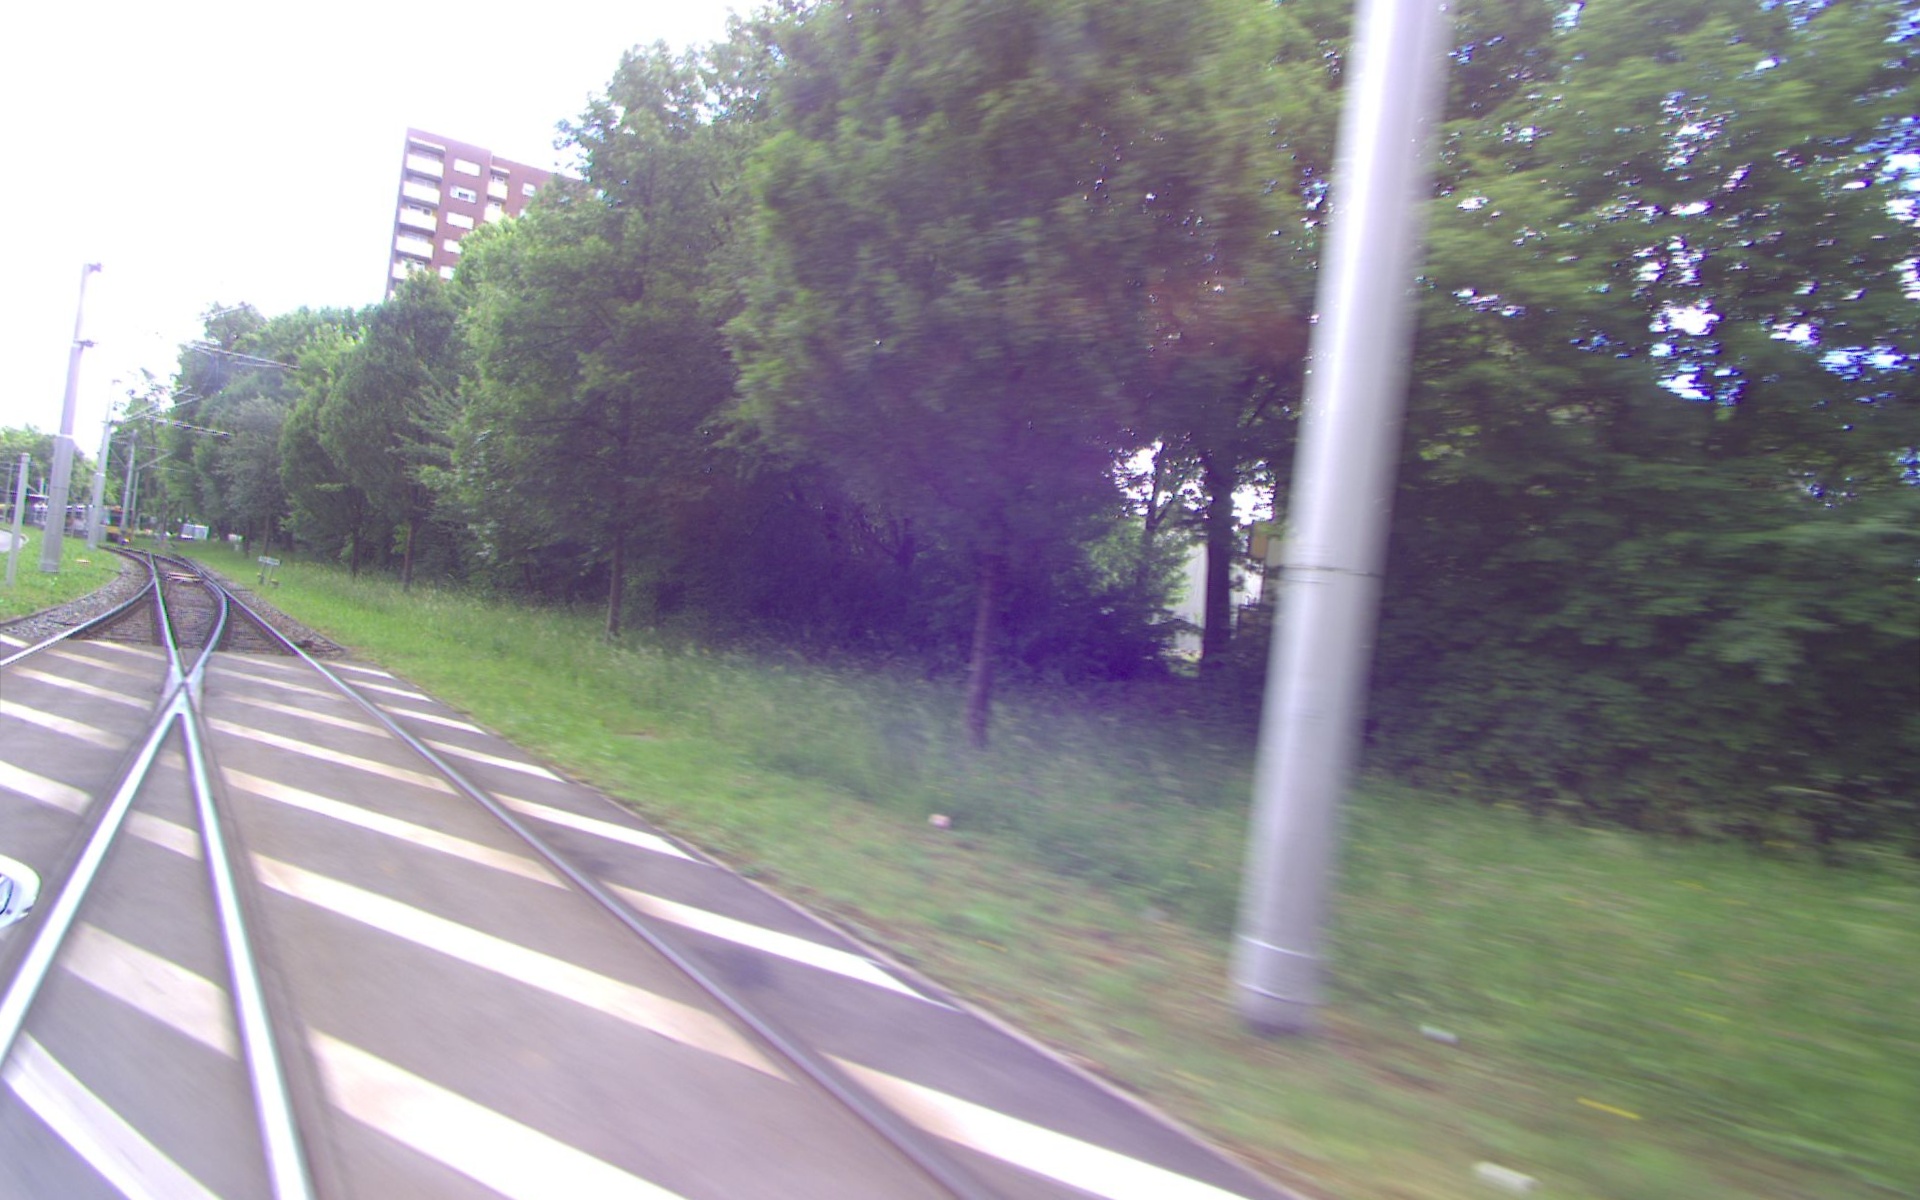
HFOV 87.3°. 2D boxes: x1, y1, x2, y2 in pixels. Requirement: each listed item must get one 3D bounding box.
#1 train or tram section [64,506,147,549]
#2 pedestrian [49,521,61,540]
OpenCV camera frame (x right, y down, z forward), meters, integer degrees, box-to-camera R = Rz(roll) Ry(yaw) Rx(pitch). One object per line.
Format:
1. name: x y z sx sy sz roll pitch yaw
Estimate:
1. train or tram section: -89.568 -7.770 104.957 34.256 3.348 3.003 6 -3 44
2. pedestrian: -76.327 -5.860 84.828 0.587 1.481 0.567 6 -1 42
